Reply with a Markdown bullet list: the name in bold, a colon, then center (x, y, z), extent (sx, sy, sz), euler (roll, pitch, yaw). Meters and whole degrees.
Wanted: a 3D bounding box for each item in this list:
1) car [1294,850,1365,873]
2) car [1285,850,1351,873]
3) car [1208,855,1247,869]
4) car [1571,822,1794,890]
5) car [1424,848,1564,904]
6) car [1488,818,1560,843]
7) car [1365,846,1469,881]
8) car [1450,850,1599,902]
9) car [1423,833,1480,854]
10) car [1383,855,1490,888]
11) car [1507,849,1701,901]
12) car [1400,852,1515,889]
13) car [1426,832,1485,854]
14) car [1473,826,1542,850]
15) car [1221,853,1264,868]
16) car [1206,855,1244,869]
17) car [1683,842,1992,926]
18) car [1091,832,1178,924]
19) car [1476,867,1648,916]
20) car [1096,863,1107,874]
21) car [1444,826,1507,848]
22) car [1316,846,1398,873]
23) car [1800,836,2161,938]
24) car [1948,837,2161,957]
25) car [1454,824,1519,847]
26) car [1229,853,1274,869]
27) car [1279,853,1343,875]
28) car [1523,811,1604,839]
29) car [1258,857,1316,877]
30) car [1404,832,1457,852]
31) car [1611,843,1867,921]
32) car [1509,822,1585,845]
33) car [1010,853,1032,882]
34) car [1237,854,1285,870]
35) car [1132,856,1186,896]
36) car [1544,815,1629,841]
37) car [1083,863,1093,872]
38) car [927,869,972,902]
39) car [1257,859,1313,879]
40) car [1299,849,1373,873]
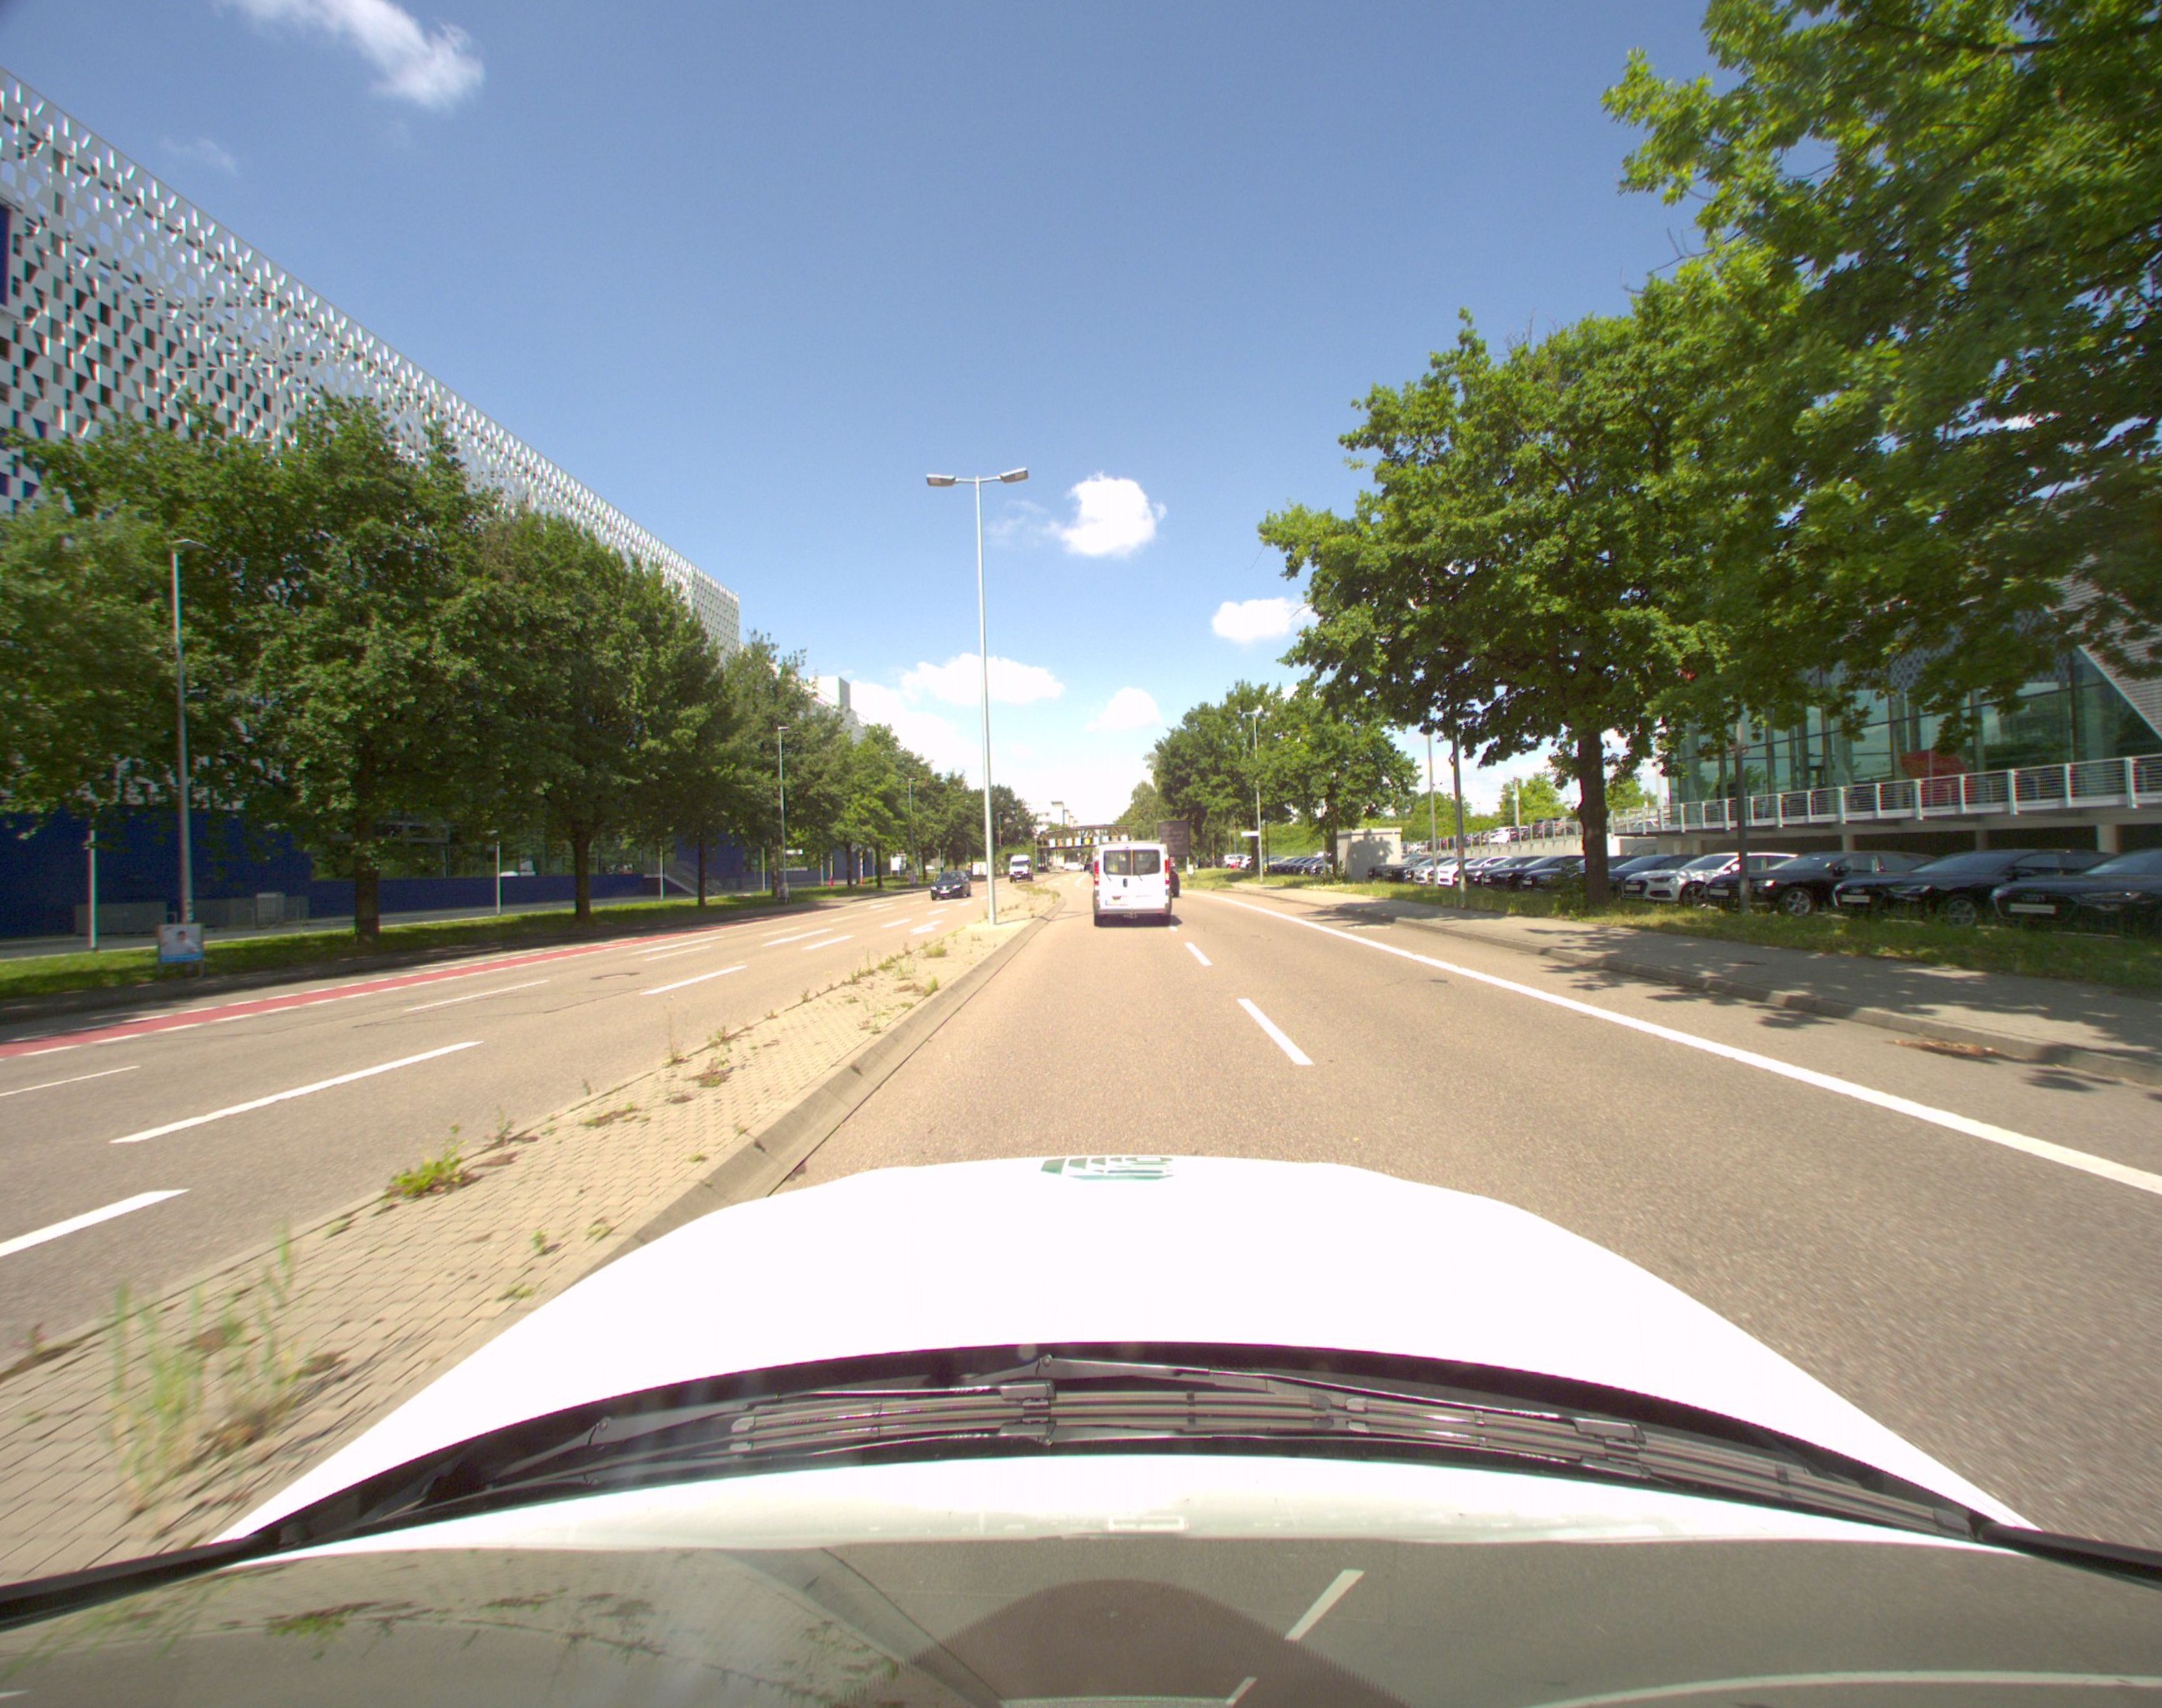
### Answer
- **car**: center (17.386, 0.496, 57.116), extent (4.341, 1.512, 1.936), euler (-1, 1, 0)
- **car**: center (17.377, 0.531, 59.883), extent (4.341, 1.512, 1.936), euler (-1, 1, 0)
- **car**: center (17.246, 0.931, 96.017), extent (4.341, 1.512, 1.936), euler (-1, 1, 0)
- **car**: center (15.993, 0.034, 21.826), extent (4.558, 1.678, 1.908), euler (-1, 1, 1)
- **car**: center (16.216, 0.845, 32.133), extent (4.558, 2.049, 1.908), euler (-1, 1, 1)
- **car**: center (33.117, -1.725, 60.946), extent (4.334, 1.774, 1.939), euler (-1, 1, 4)
- **car**: center (16.450, 0.472, 40.066), extent (4.338, 1.513, 1.856), euler (-2, -1, 2)
- **car**: center (16.014, 0.762, 29.557), extent (4.331, 1.512, 1.786), euler (4, 1, 1)
- **car**: center (33.637, -0.972, 73.954), extent (4.334, 1.774, 1.939), euler (-1, 1, 4)
- **car**: center (16.218, 0.788, 37.312), extent (4.091, 1.445, 1.856), euler (-1, 0, 2)
- **car**: center (15.496, 0.594, 24.296), extent (4.558, 1.404, 1.908), euler (-1, 1, 1)
- **car**: center (16.035, 0.710, 34.826), extent (4.092, 1.404, 1.818), euler (-2, -1, 1)
- **car**: center (32.930, -0.961, 71.626), extent (4.334, 1.774, 1.939), euler (-1, 1, 4)
- **car**: center (33.274, -1.284, 63.599), extent (4.334, 1.774, 1.939), euler (-1, 1, 4)
- **car**: center (17.670, 0.719, 89.080), extent (4.341, 1.512, 1.936), euler (-1, 1, 0)
- **car**: center (17.660, 0.961, 99.837), extent (4.341, 1.512, 1.936), euler (-1, 1, 0)
- **car**: center (15.503, 0.599, 16.892), extent (4.558, 1.499, 1.907), euler (-2, -1, 1)
- **car**: center (1.318, 0.537, 21.030), extent (1.965, 2.060, 4.567), euler (-1, 0, 2)
- **car**: center (15.798, 1.206, 26.914), extent (4.558, 1.404, 1.908), euler (-1, 1, 1)
- **car**: center (4.044, 2.809, 161.090), extent (1.986, 2.014, 4.002), euler (-2, -1, 2)
- **car**: center (33.106, -1.402, 68.381), extent (4.334, 1.774, 1.939), euler (-1, 1, 4)
- **car**: center (16.770, 0.305, 49.569), extent (4.341, 1.512, 1.936), euler (-1, 1, 0)
- **car**: center (15.609, 0.538, 14.099), extent (4.558, 1.499, 1.907), euler (-2, -1, 1)
- **car**: center (15.428, 0.511, 11.363), extent (4.558, 1.499, 1.907), euler (-2, -1, 1)
- **car**: center (32.963, -1.507, 66.338), extent (4.334, 1.774, 1.939), euler (-1, 1, 4)
- **car**: center (17.967, 0.741, 86.080), extent (4.341, 1.512, 1.936), euler (-1, 1, 0)
- **car**: center (17.641, 0.773, 62.630), extent (4.341, 1.512, 1.936), euler (-1, 1, 0)
- **car**: center (32.849, -1.953, 55.518), extent (4.334, 1.774, 1.939), euler (-1, 1, 4)
- **car**: center (17.038, 1.076, 67.402), extent (4.341, 1.512, 1.936), euler (-1, 1, 0)
- **car**: center (33.910, -1.169, 79.180), extent (4.334, 1.774, 1.939), euler (-1, 1, 4)
- **car**: center (15.520, 0.630, 19.410), extent (4.558, 1.678, 1.908), euler (-1, 1, 1)
- **car**: center (33.360, -1.433, 58.337), extent (4.334, 1.551, 1.939), euler (-1, 1, 4)
- **car**: center (-6.200, 1.382, 85.141), extent (2.018, 2.893, 6.376), euler (-2, -1, -2)
- **car**: center (17.833, 0.770, 80.823), extent (4.341, 1.512, 1.936), euler (-1, 1, 0)
- **car**: center (3.471, 0.945, 36.843), extent (1.770, 1.629, 3.994), euler (-2, 0, -4)
- **car**: center (32.842, -1.691, 52.988), extent (4.334, 1.551, 1.939), euler (-1, 1, 4)
- **car**: center (1.473, 2.849, 171.943), extent (1.985, 1.771, 4.003), euler (-1, 1, 3)
- **car**: center (-7.350, 1.731, 45.770), extent (1.733, 1.610, 4.240), euler (-5, -1, -1)
- **car**: center (17.495, 1.293, 70.024), extent (4.341, 1.512, 1.936), euler (-1, 1, 0)
- **car**: center (17.043, 0.468, 54.587), extent (4.341, 1.512, 1.936), euler (-1, 1, 0)
